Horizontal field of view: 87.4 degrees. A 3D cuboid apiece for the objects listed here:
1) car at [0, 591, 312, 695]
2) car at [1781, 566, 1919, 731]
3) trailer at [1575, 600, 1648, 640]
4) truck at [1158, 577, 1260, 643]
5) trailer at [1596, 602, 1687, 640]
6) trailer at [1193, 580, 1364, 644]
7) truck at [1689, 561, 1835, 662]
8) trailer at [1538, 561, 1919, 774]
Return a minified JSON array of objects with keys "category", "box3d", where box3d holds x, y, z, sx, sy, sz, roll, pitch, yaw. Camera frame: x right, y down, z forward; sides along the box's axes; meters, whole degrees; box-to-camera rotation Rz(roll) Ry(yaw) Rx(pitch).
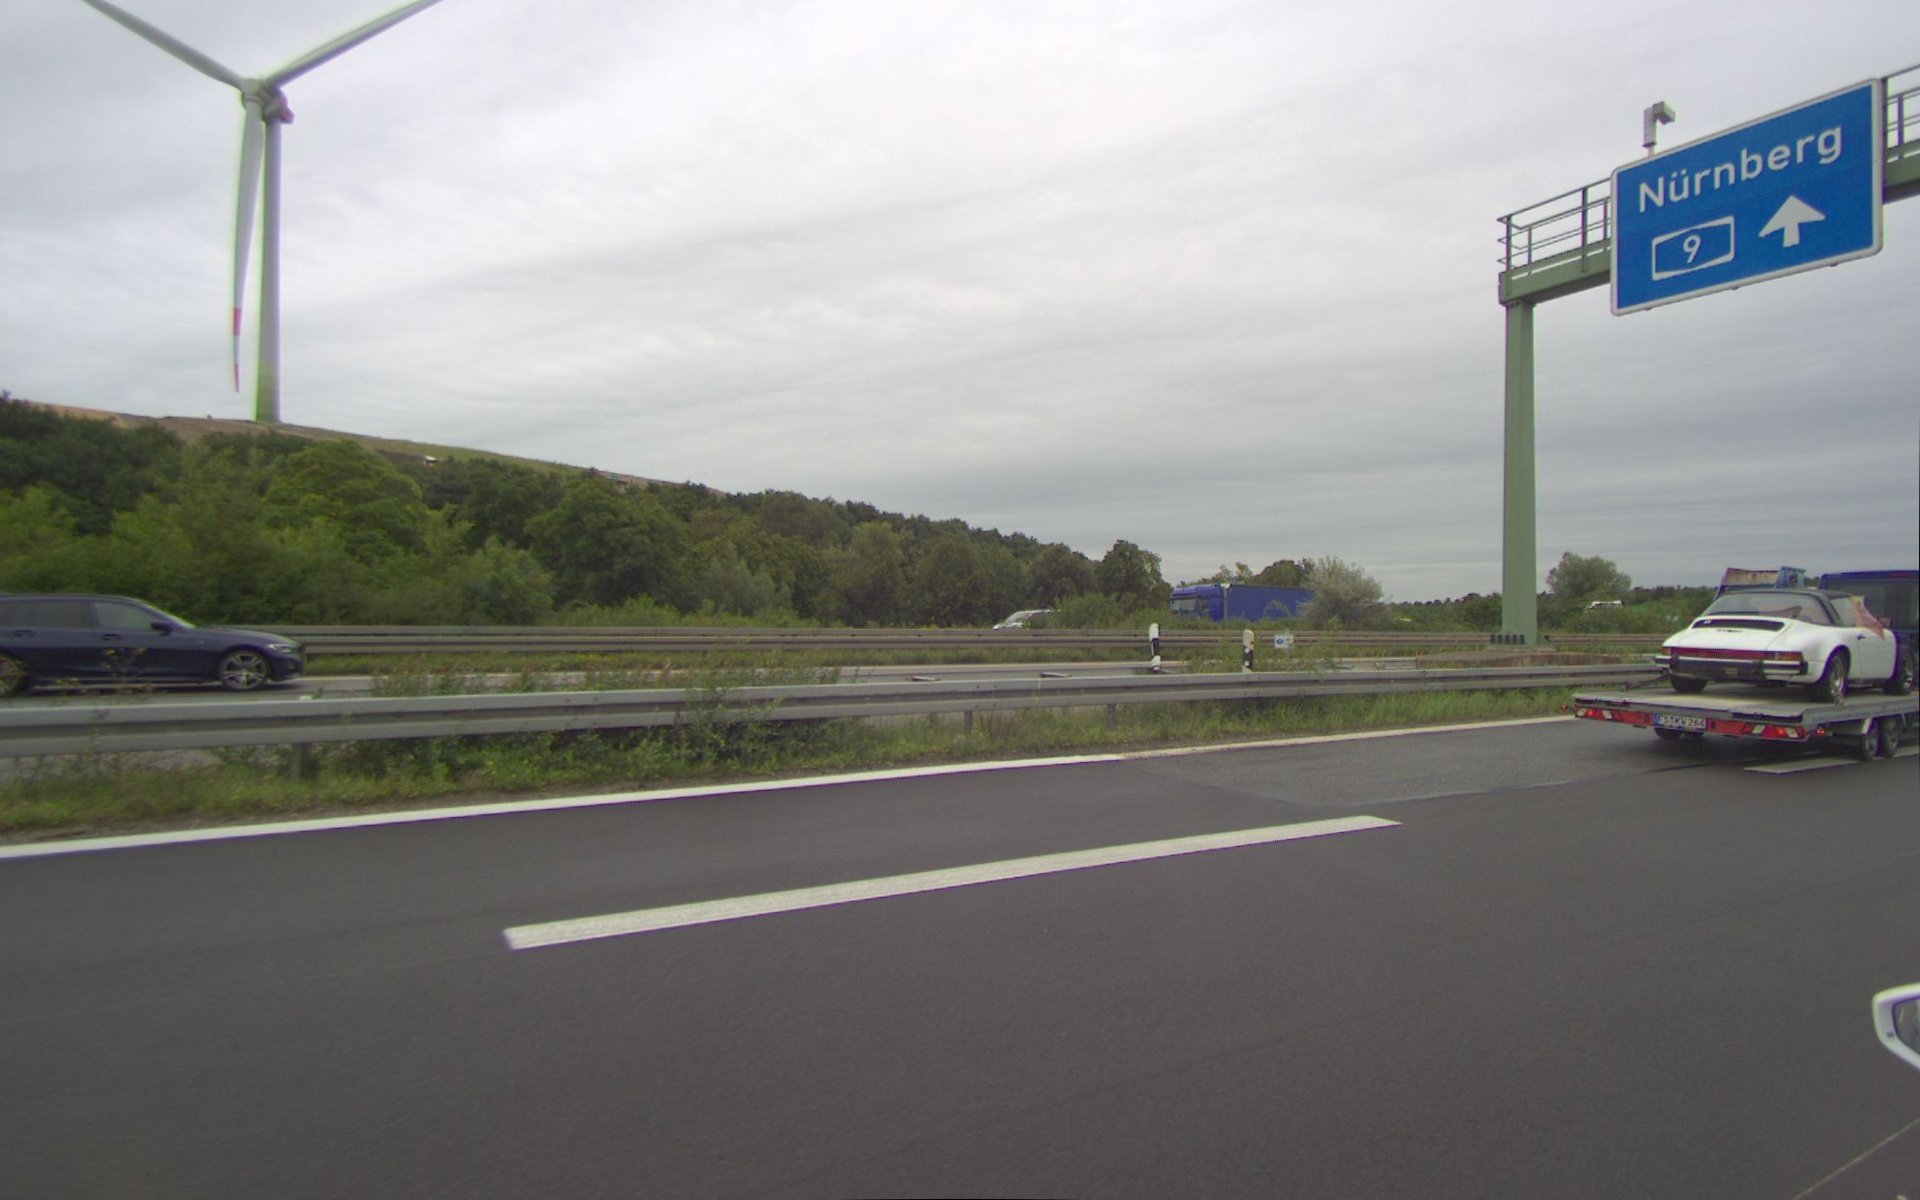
[{"category":"car","box3d":[-12.698,0.626,15.281,4.726,1.410,1.792,2,0,-34]},{"category":"car","box3d":[15.790,0.743,15.997,6.188,2.296,2.359,2,0,-33]},{"category":"trailer","box3d":[59.255,1.841,91.276,7.196,3.448,2.941,1,0,-34]},{"category":"truck","box3d":[15.655,0.659,63.069,5.834,3.978,2.942,1,0,-33]},{"category":"trailer","box3d":[64.393,2.023,94.745,11.680,3.448,2.941,1,0,-34]},{"category":"trailer","box3d":[21.387,0.880,66.788,13.380,3.978,2.942,1,0,-33]},{"category":"truck","box3d":[33.285,0.538,41.601,7.269,3.863,2.621,2,0,-34]},{"category":"trailer","box3d":[10.293,0.709,12.448,6.986,2.021,2.471,2,0,-33]}]
